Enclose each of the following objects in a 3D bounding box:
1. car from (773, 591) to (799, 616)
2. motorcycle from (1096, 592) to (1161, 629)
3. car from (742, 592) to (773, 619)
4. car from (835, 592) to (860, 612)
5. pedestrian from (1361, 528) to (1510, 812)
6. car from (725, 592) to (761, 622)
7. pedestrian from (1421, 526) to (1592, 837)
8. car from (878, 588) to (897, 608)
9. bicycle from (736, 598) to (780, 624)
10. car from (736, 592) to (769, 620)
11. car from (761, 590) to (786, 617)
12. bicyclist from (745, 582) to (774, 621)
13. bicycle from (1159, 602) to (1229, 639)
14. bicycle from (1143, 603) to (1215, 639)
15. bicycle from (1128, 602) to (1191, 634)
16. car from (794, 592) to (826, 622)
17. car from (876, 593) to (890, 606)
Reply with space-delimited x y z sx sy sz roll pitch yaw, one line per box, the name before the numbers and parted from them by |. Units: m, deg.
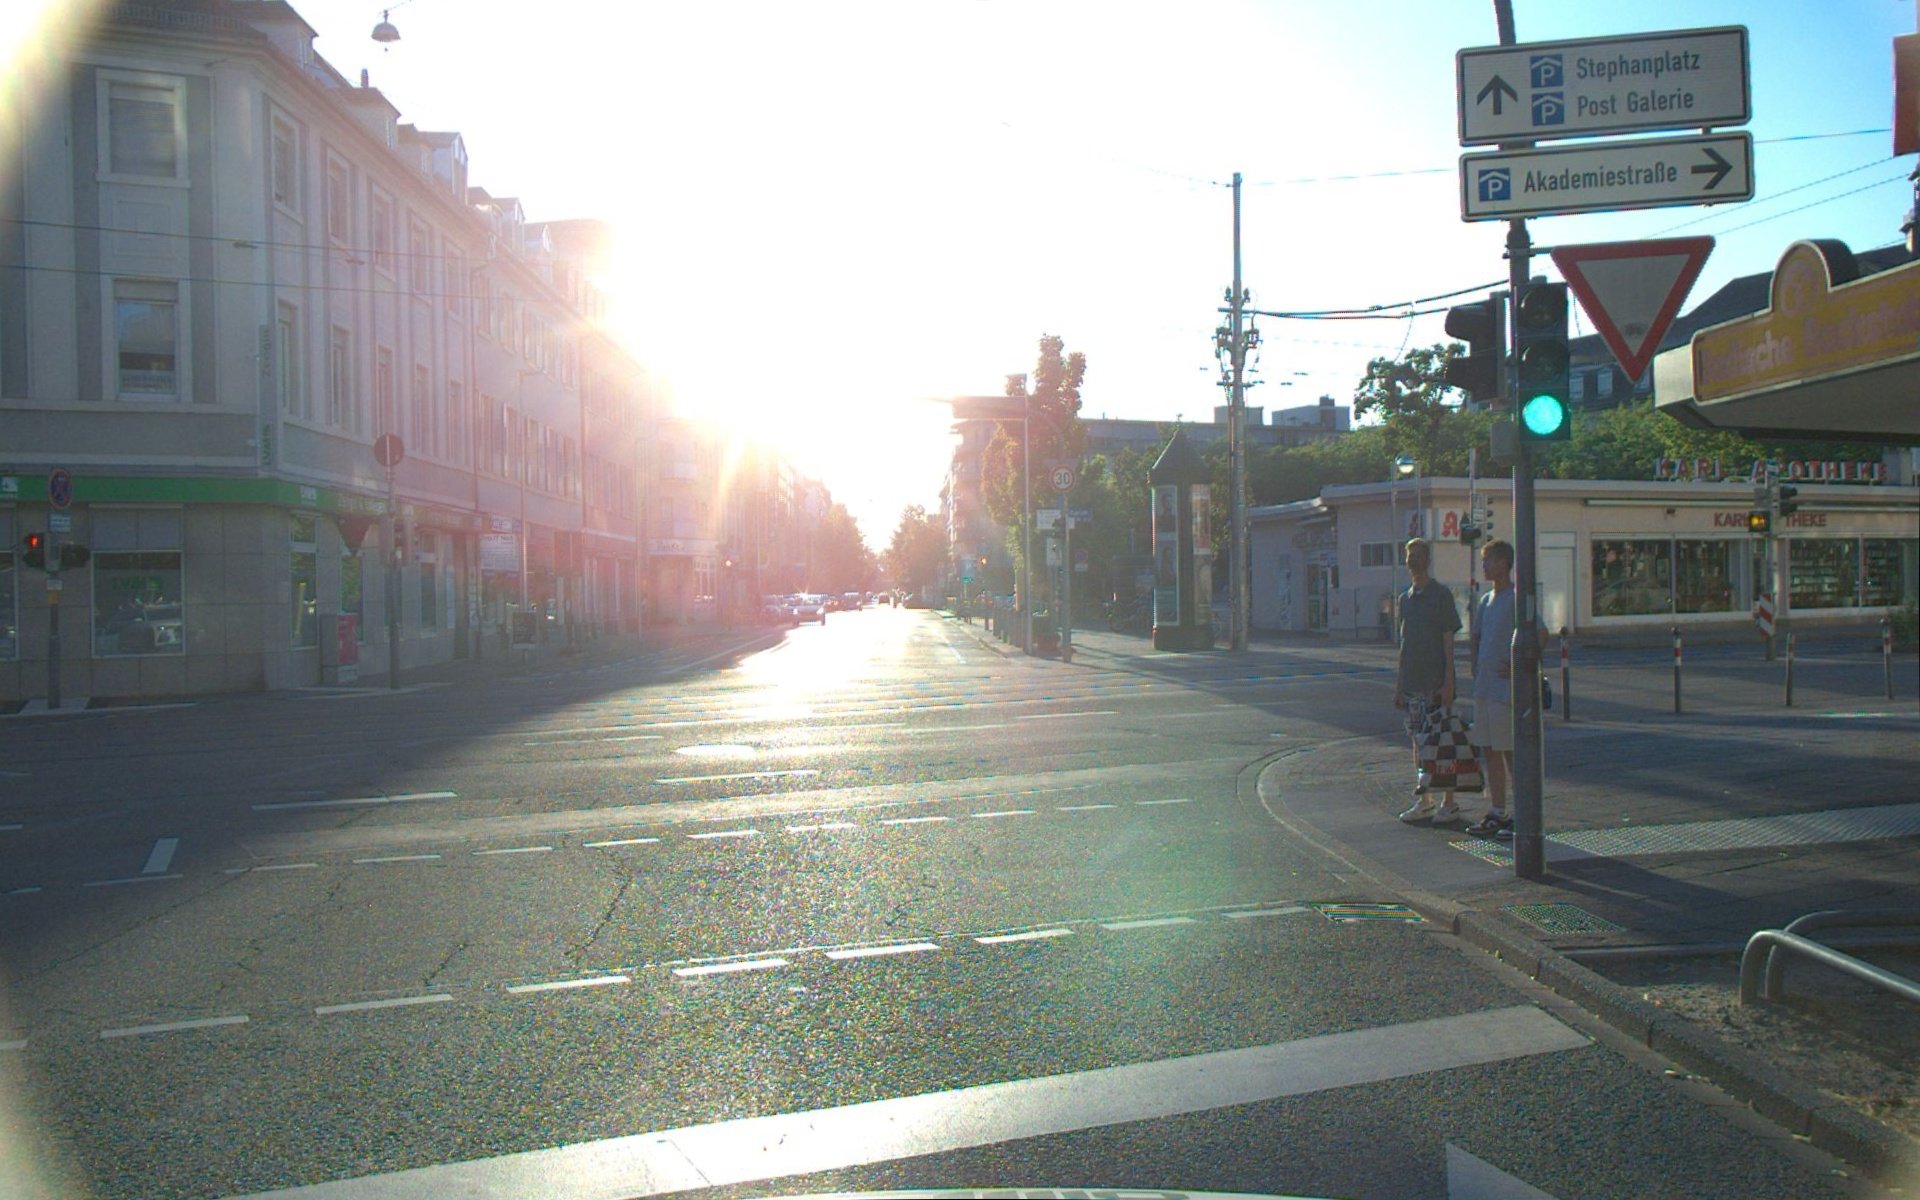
car | -11.204 0.212 106.514 1.453 1.586 3.257 0 -1 -3
motorcycle | 5.822 0.361 57.245 2.188 1.222 0.720 -1 0 3
car | -11.473 0.331 93.999 1.514 1.494 3.350 0 -1 -3
car | -10.266 0.151 150.869 1.953 1.713 4.000 -1 0 0
pedestrian | 3.149 0.444 10.975 0.579 1.804 0.741 -1 0 -33
car | -11.187 0.355 85.385 1.514 1.509 3.350 -1 0 -3
pedestrian | 3.326 0.469 10.096 0.629 1.804 0.744 -1 0 -23
car | -7.739 -0.233 177.361 1.953 2.049 3.999 1 -1 -1
bicycle | -9.619 0.538 78.827 2.073 1.225 0.500 1 -1 17
car | -11.147 0.337 89.032 1.514 1.495 3.350 0 -1 -3
car | -11.338 0.232 100.715 1.281 1.610 2.887 0 0 -3
bicyclist | -9.556 0.081 78.846 1.105 1.822 0.765 0 -1 17
bicycle | 6.844 0.603 48.407 1.977 1.062 0.560 -1 -1 6
bicycle | 6.565 0.630 49.588 2.101 1.062 0.560 -1 -1 6
bicycle | 6.521 0.586 54.145 2.034 0.999 0.560 -1 -1 6
car | -7.675 0.357 84.857 1.514 1.493 3.350 0 -1 -3
car | -11.462 -0.033 245.988 1.953 1.847 3.999 1 -1 0
